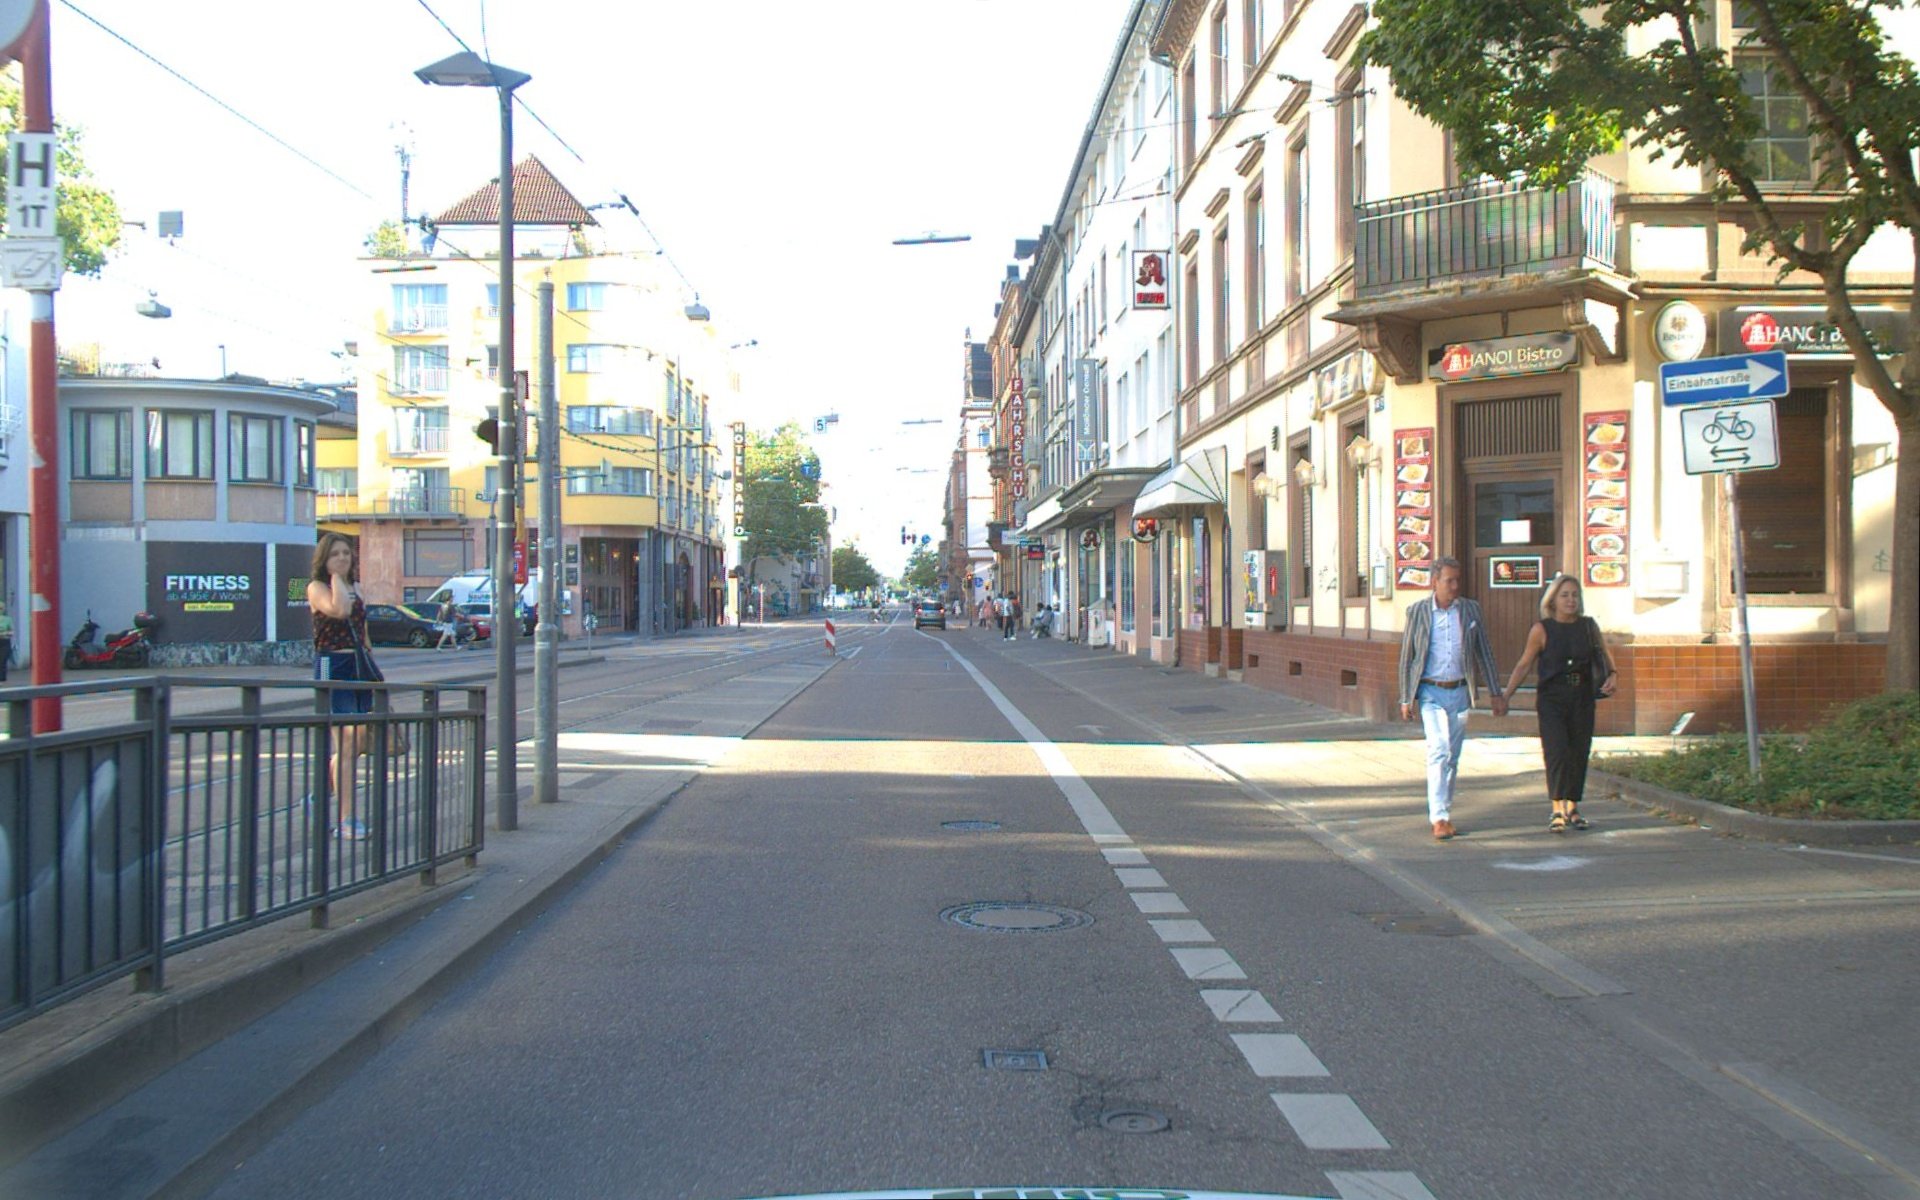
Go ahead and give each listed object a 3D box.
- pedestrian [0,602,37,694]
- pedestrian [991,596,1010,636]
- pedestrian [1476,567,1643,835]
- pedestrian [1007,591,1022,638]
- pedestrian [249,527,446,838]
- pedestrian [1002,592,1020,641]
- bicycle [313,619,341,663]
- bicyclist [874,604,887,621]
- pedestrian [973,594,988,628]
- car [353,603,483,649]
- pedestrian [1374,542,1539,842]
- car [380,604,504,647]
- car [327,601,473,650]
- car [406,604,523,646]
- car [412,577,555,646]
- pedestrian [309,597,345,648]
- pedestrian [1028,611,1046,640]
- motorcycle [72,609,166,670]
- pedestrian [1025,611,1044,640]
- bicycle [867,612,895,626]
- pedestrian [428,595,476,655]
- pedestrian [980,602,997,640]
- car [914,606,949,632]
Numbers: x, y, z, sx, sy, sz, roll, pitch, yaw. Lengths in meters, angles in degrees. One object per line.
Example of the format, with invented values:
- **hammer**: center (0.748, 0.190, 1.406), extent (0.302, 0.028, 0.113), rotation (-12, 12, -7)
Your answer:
- **pedestrian**: center (-18.067, 0.898, 31.225), extent (1.001, 1.690, 0.914), rotation (3, -1, -26)
- **pedestrian**: center (1.968, 0.763, 80.250), extent (0.831, 1.951, 1.034), rotation (0, -1, -3)
- **pedestrian**: center (3.867, 0.625, 10.717), extent (0.699, 1.630, 0.772), rotation (-3, 1, -5)
- **pedestrian**: center (2.132, 0.577, 64.785), extent (0.548, 1.828, 0.651), rotation (0, -1, 5)
- **pedestrian**: center (-3.602, 0.466, 9.795), extent (0.852, 1.744, 0.787), rotation (2, 1, -4)
- **pedestrian**: center (1.904, 0.614, 61.440), extent (0.635, 1.828, 0.562), rotation (0, -1, 2)
- **bicycle**: center (-17.097, 1.096, 44.696), extent (0.490, 1.127, 1.793), rotation (0, 0, -14)
- **bicyclist**: center (-5.791, 0.924, 120.577), extent (0.695, 1.242, 0.754), rotation (-1, 0, 16)
- **pedestrian**: center (1.197, 0.613, 95.352), extent (0.826, 1.951, 0.846), rotation (0, -1, -4)
- **car**: center (-18.877, 0.899, 57.694), extent (3.906, 1.537, 1.800), rotation (1, 0, -1)
- **pedestrian**: center (3.149, 0.561, 10.547), extent (0.699, 1.805, 0.772), rotation (-3, 1, -5)
- **car**: center (-18.846, 0.918, 60.276), extent (3.906, 1.537, 1.800), rotation (1, 0, -1)
- **car**: center (-18.582, 0.841, 54.992), extent (4.232, 1.537, 1.800), rotation (1, 0, -1)
- **car**: center (-18.784, 0.936, 62.810), extent (3.906, 1.537, 1.800), rotation (1, 0, -1)
- **car**: center (-18.785, 0.445, 65.394), extent (5.002, 2.621, 2.128), rotation (1, 0, -1)
- **pedestrian**: center (-21.200, 0.742, 55.377), extent (0.884, 1.681, 0.751), rotation (1, -1, -44)
- **pedestrian**: center (2.820, 0.923, 60.634), extent (0.676, 1.062, 0.680), rotation (0, -1, 2)
- **motorcycle**: center (-19.486, 0.910, 38.344), extent (1.760, 1.320, 0.605), rotation (3, -1, -8)
- **pedestrian**: center (2.766, 0.936, 61.521), extent (0.676, 1.062, 0.680), rotation (0, -1, 2)
- **bicycle**: center (-5.766, 1.362, 120.571), extent (1.893, 1.021, 0.754), rotation (-1, 0, 16)
- **pedestrian**: center (-16.076, 0.783, 52.363), extent (0.893, 1.847, 1.147), rotation (0, -1, 37)
- **pedestrian**: center (1.459, 1.077, 84.776), extent (0.826, 1.951, 0.661), rotation (0, -1, -4)
- **car**: center (-1.676, 1.101, 96.388), extent (1.953, 1.475, 3.998), rotation (0, 0, -2)
